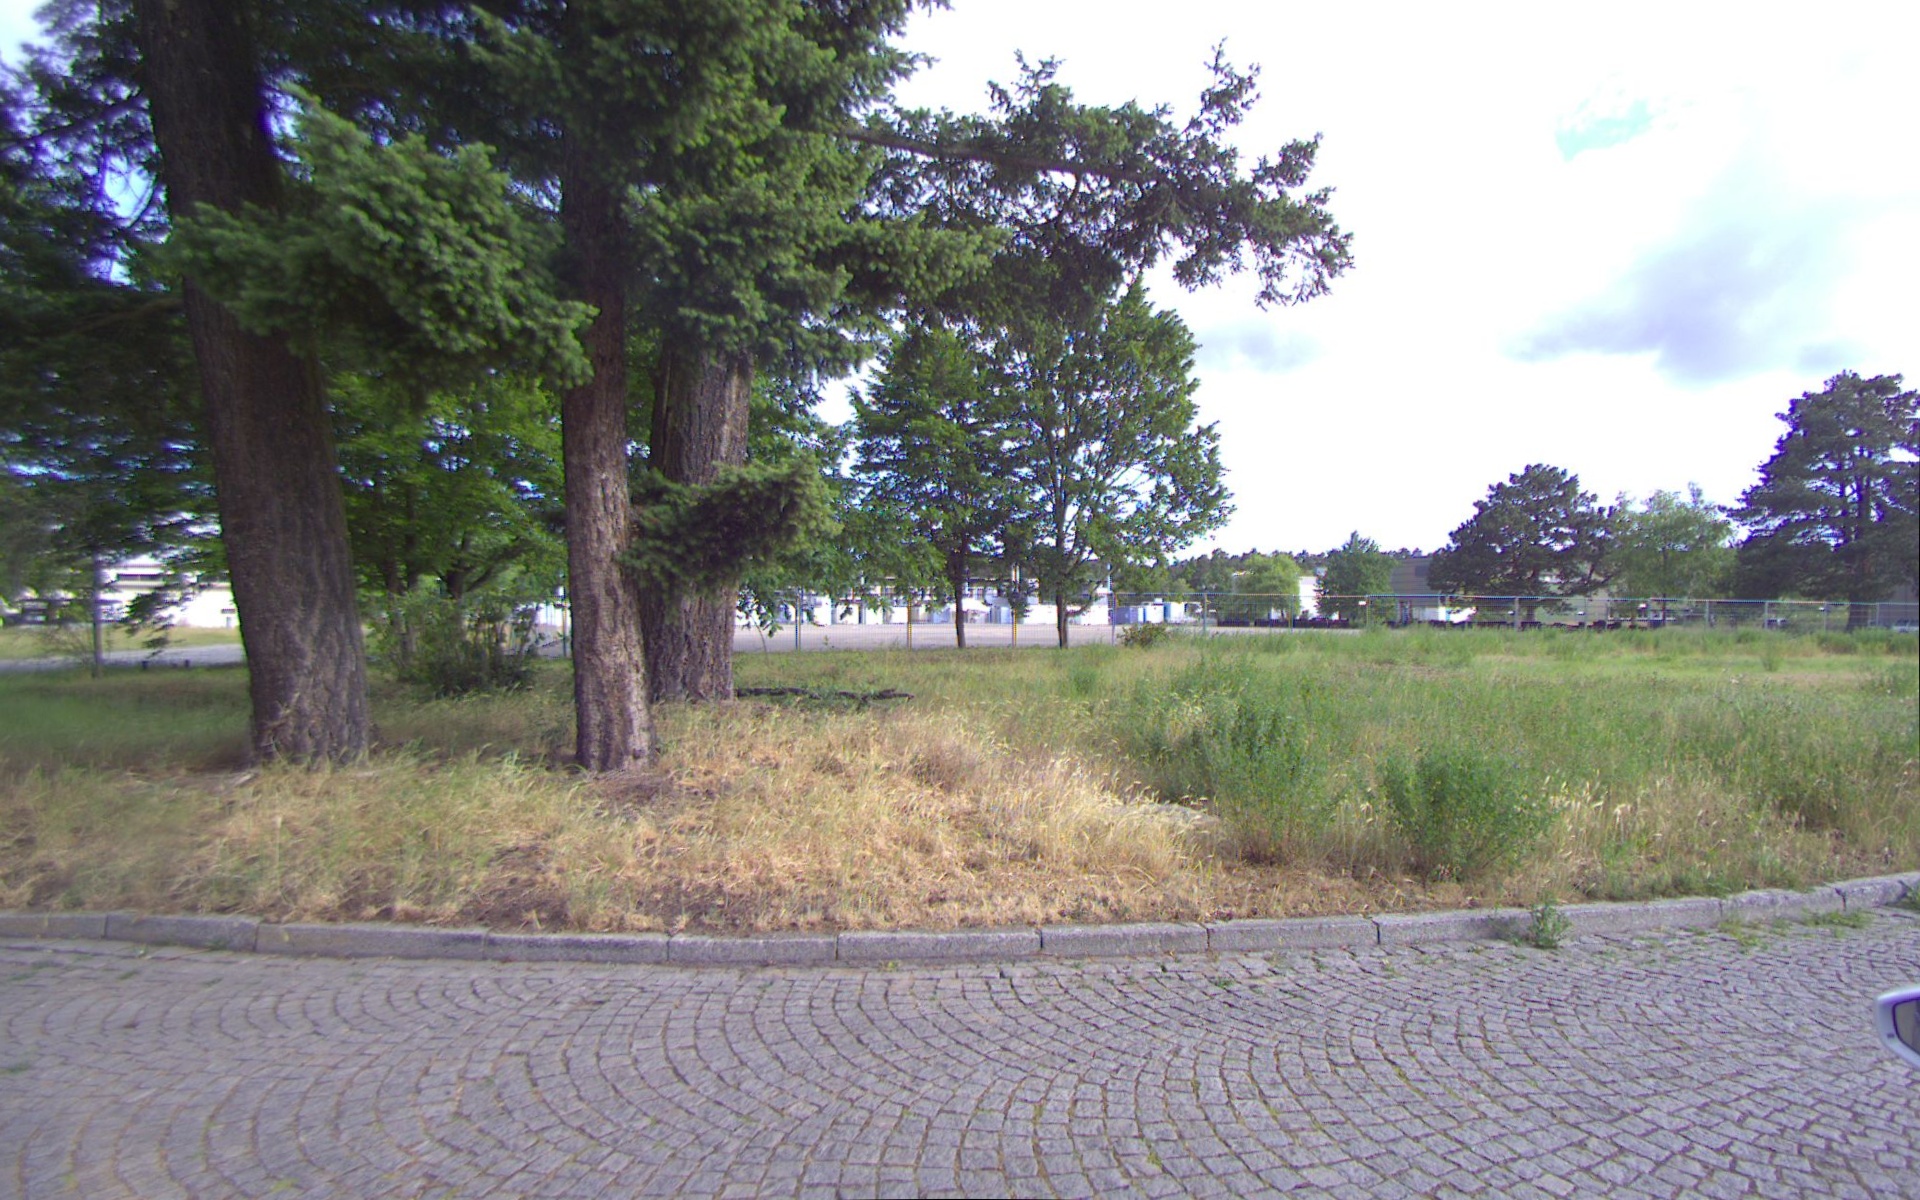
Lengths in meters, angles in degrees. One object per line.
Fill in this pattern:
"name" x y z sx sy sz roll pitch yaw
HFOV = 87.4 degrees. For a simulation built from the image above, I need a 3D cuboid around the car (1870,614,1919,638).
"car" 63.576 1.704 66.992 1.779 1.574 3.985 0 -1 -17
